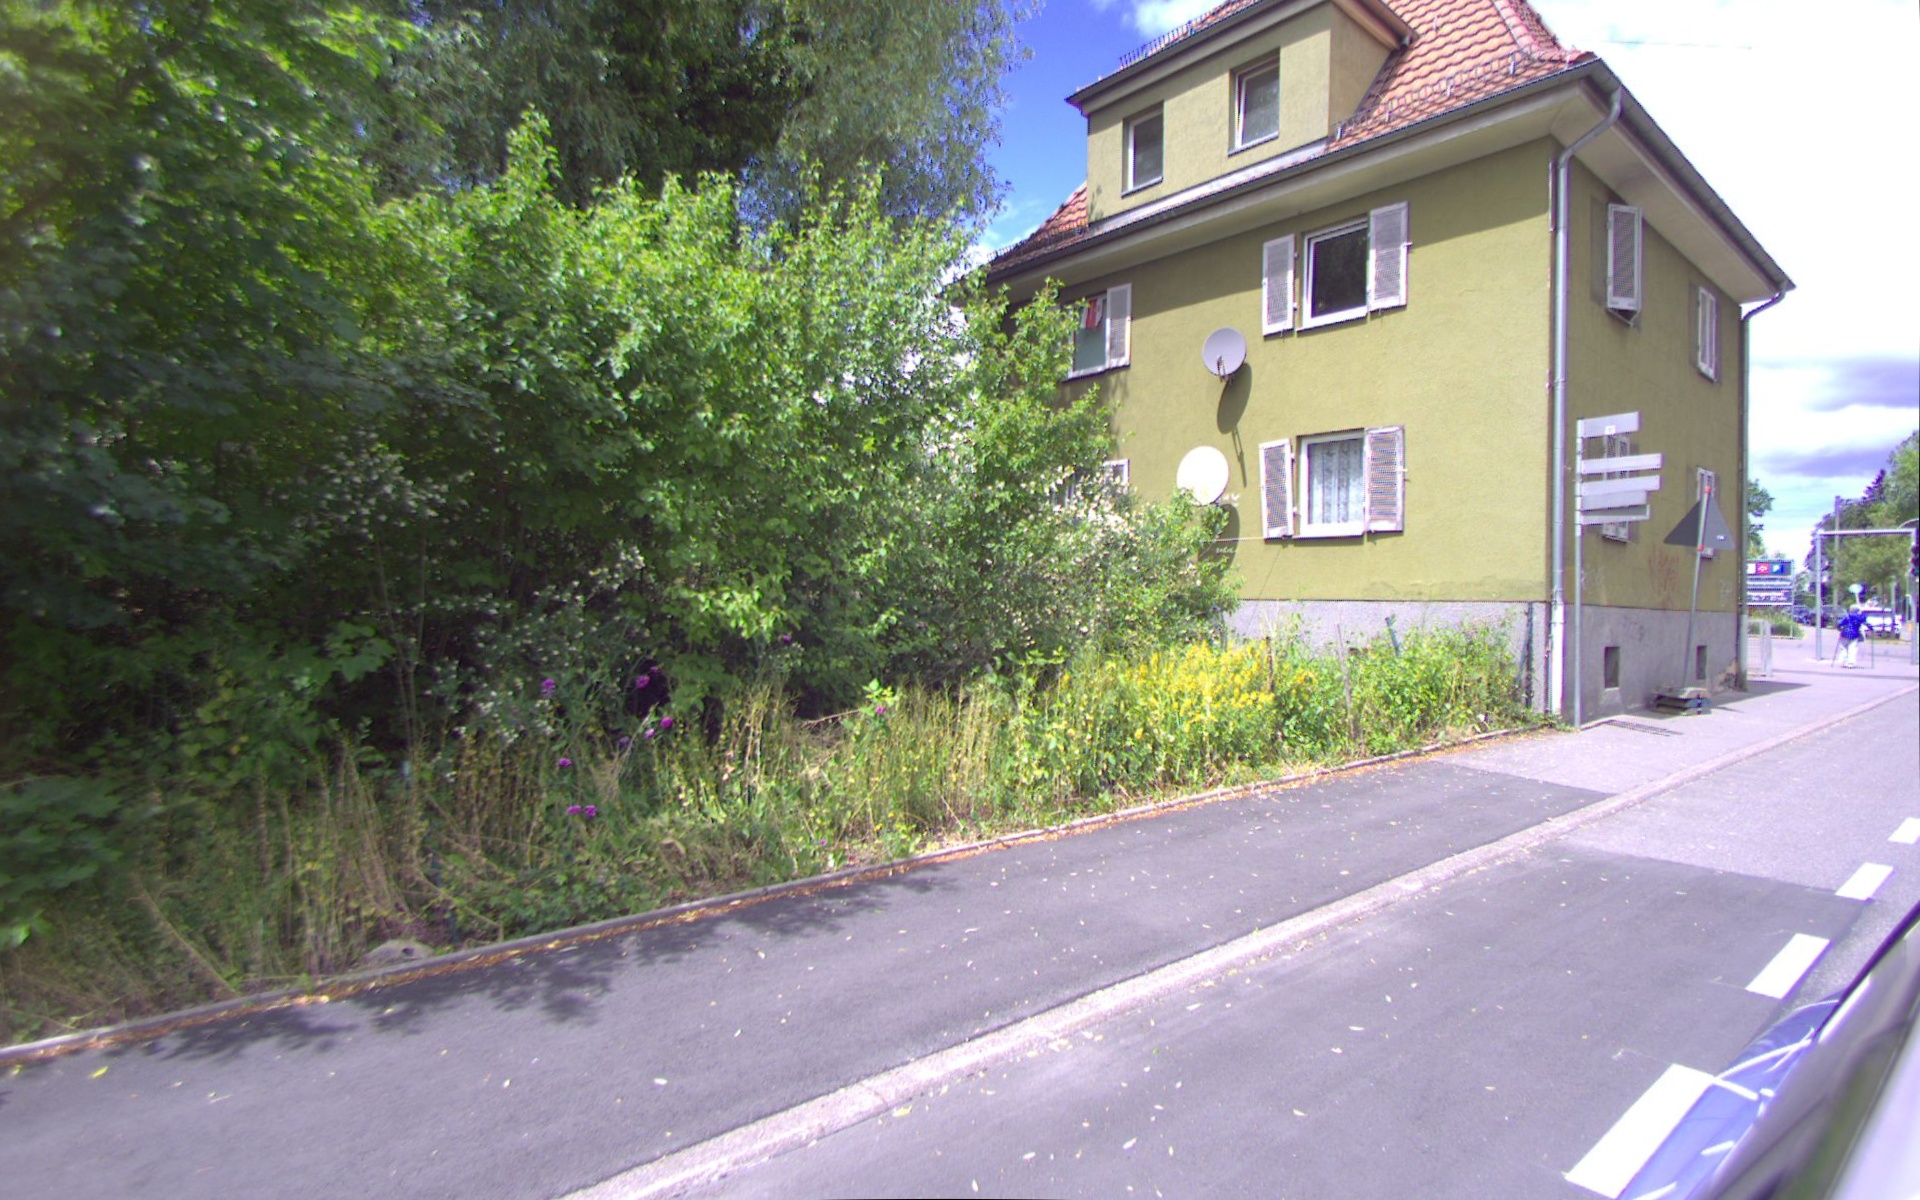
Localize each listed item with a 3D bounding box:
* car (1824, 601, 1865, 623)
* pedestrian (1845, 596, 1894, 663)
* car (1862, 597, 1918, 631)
[{"bbox_3d":[63.924,0.866,73.191,1.694,1.551,3.951,-1,-1,34],"label":"car"},{"bbox_3d":[22.595,0.713,25.140,0.824,1.592,0.972,2,1,45],"label":"pedestrian"},{"bbox_3d":[46.692,0.674,50.881,1.788,1.549,3.864,4,2,40],"label":"car"}]
